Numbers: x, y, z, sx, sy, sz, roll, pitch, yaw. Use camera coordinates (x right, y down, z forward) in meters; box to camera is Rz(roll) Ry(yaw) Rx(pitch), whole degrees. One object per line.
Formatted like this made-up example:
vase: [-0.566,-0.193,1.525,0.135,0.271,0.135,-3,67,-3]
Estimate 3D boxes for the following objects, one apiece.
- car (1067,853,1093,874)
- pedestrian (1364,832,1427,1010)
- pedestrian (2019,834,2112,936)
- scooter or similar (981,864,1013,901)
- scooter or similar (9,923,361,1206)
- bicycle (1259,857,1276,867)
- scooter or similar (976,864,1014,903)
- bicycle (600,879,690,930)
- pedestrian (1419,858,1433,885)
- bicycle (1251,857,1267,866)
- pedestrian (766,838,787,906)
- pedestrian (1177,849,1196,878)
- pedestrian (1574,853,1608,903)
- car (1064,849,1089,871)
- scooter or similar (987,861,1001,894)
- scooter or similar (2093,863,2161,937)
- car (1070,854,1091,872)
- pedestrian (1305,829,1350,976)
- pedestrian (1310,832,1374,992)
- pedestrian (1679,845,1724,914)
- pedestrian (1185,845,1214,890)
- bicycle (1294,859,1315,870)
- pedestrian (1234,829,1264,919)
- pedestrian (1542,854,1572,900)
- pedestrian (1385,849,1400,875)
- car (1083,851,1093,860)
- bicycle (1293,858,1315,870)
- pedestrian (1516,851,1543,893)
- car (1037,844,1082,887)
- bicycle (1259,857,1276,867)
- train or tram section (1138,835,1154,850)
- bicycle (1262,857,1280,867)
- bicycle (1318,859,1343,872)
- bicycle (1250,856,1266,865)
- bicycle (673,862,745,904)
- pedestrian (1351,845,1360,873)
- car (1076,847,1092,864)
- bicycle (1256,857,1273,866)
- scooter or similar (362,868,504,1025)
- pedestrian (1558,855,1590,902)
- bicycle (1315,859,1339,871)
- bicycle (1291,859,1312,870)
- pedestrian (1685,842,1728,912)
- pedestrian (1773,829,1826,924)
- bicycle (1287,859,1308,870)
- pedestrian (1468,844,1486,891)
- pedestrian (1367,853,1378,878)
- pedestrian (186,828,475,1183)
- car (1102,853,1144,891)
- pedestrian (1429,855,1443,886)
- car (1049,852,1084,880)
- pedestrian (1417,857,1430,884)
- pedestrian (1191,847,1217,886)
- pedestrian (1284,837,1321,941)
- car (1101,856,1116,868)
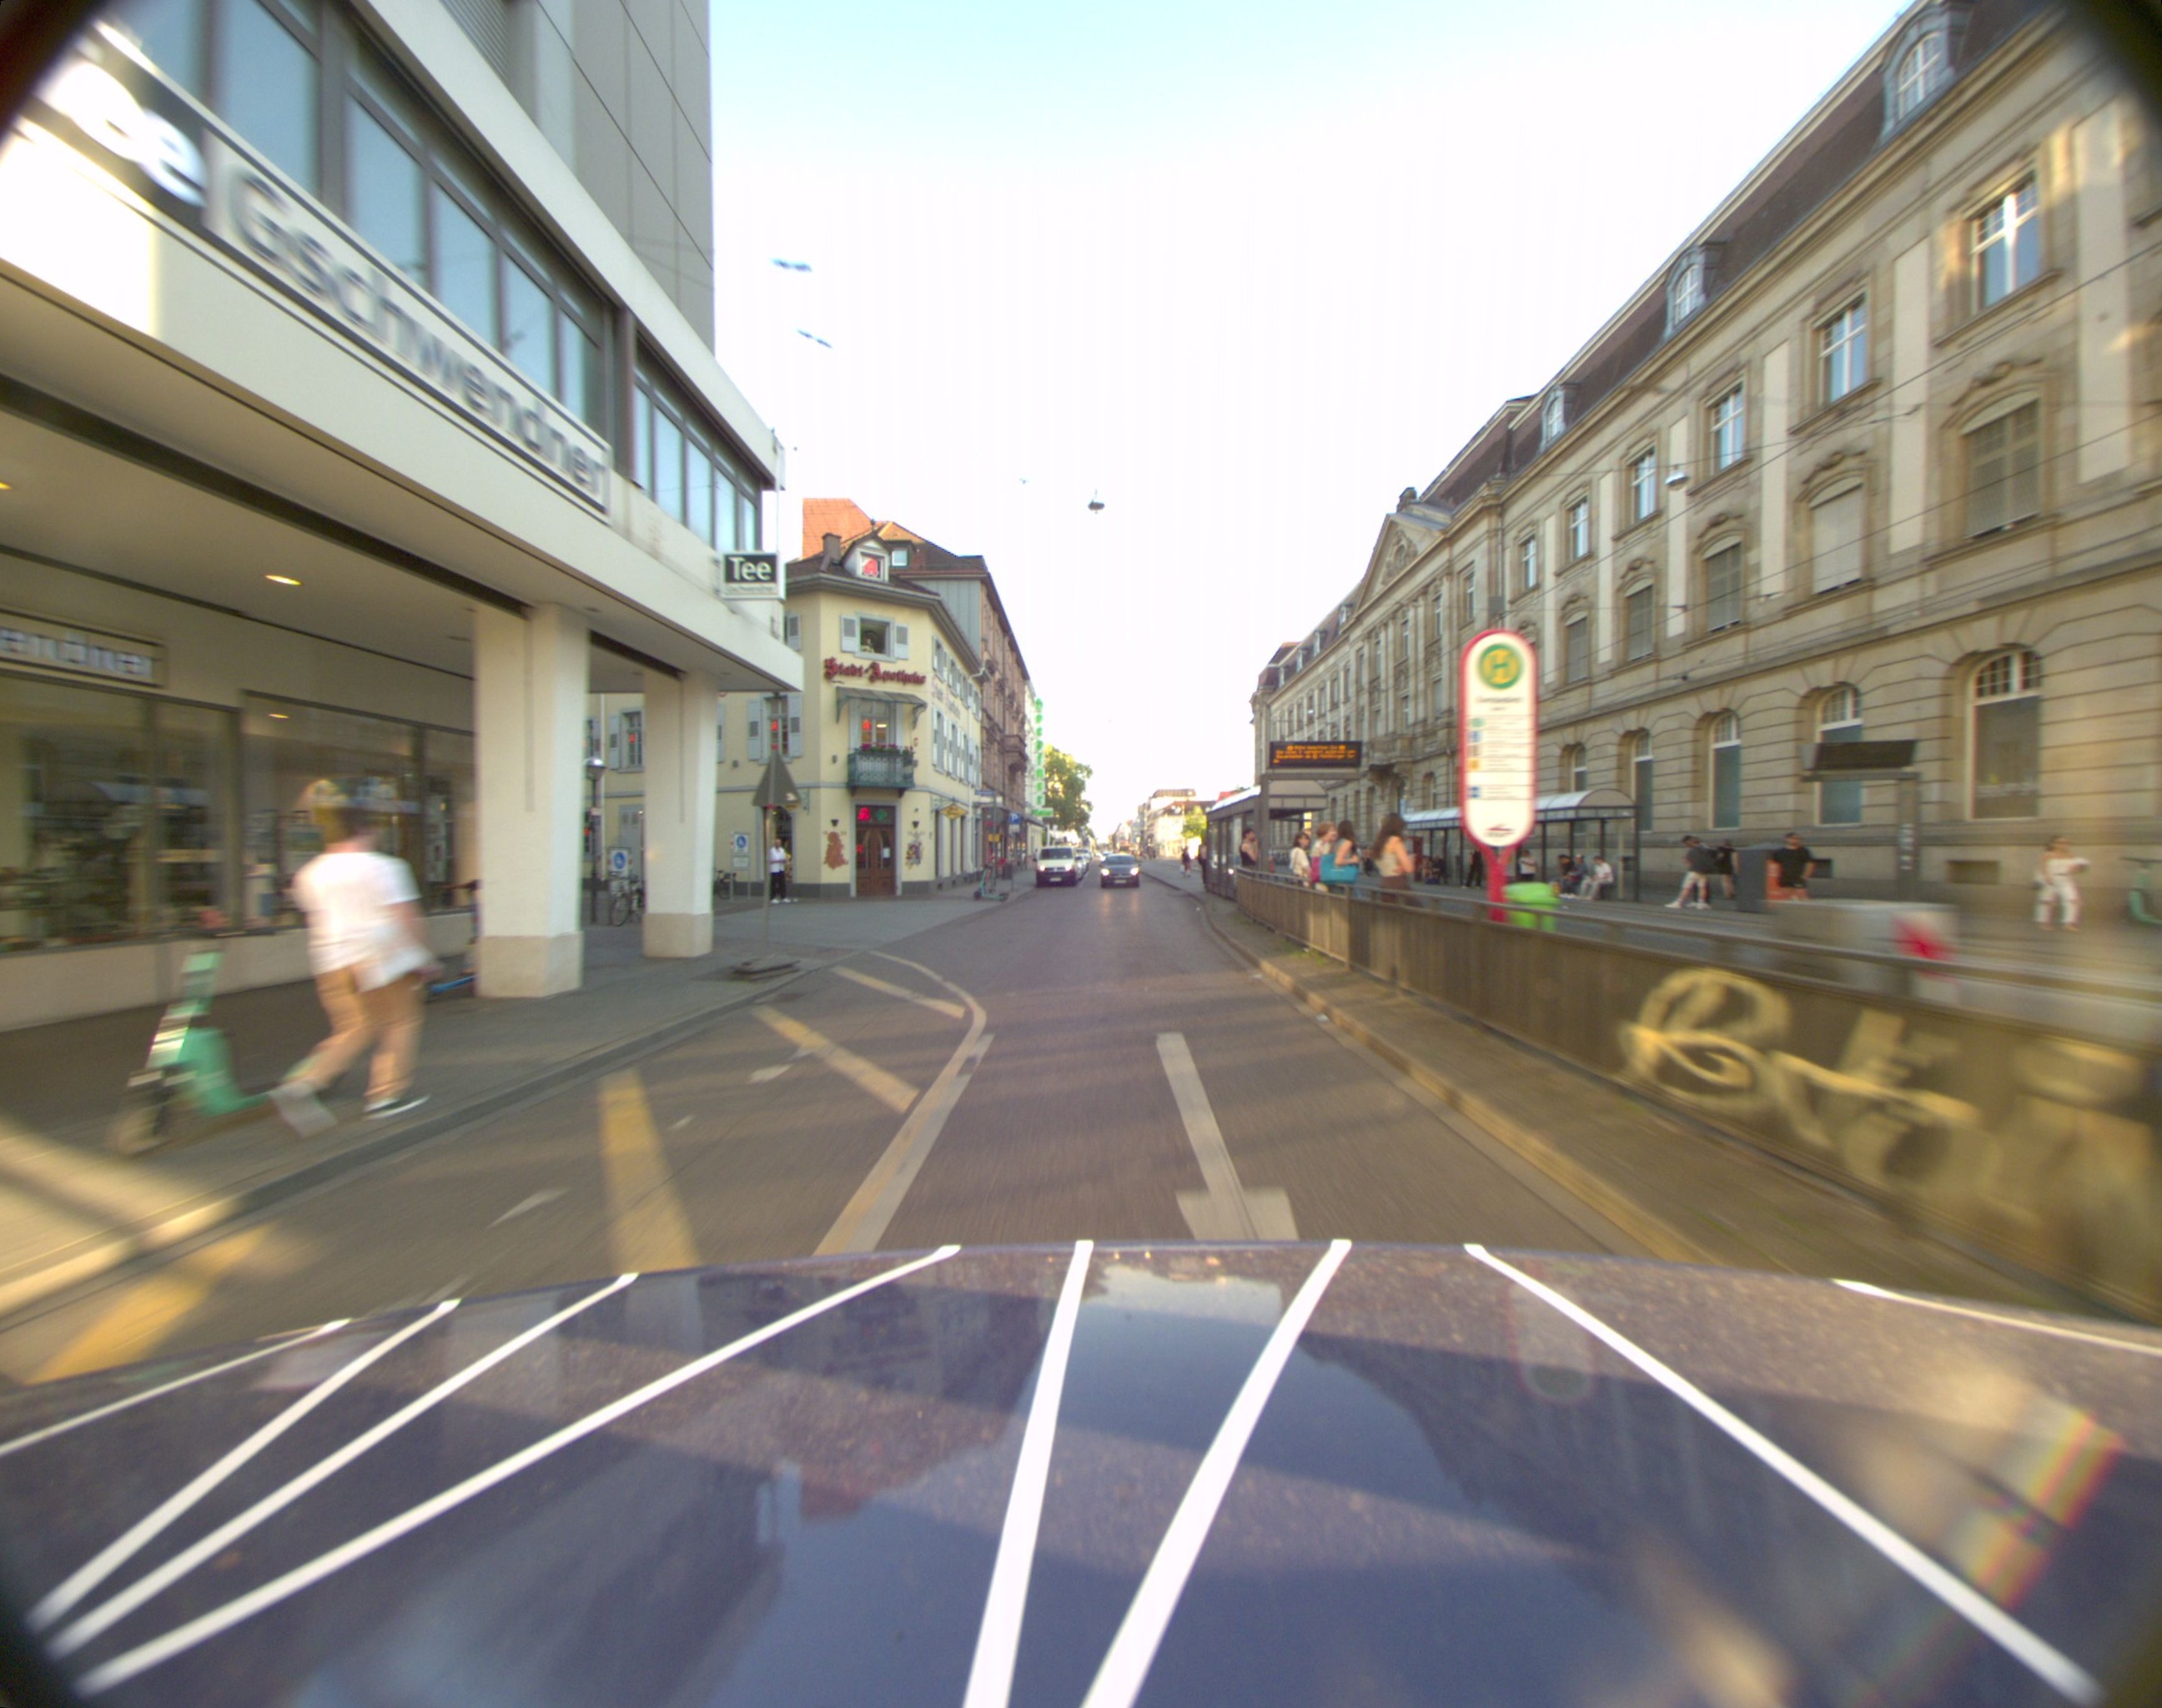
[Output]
car: [-0.035,0.737,63.824,1.736,1.581,4.442,-3,1,4]
pedestrian: [2.995,0.617,7.260,0.357,1.632,0.502,-2,1,-1]
pedestrian: [16.199,0.497,12.513,0.701,1.605,0.630,-2,1,0]
scooter or similar: [-2.831,0.958,25.616,1.049,1.227,0.271,0,2,-31]
scooter or similar: [-4.795,1.051,4.183,0.506,1.227,1.179,0,1,1]
bicycle: [18.000,0.746,73.332,1.579,0.869,0.451,-2,1,6]
scooter or similar: [-2.822,0.959,24.917,1.177,1.227,0.317,1,1,17]
bicycle: [-9.459,1.077,16.584,0.771,1.022,1.848,-2,-1,4]
pedestrian: [14.165,0.708,31.196,0.365,1.096,0.430,-2,1,7]
bicycle: [18.409,0.760,78.607,1.579,0.869,0.451,-2,1,6]
pedestrian: [-9.011,0.520,22.485,0.544,2.002,0.644,-1,1,-22]
pedestrian: [5.529,0.507,39.929,0.848,1.492,0.901,-1,1,1]
pedestrian: [13.836,0.645,20.628,0.519,1.320,0.638,-1,1,5]
car: [-0.321,0.405,57.670,1.736,1.502,4.865,-3,1,1]
scooter or similar: [-3.366,0.884,29.484,0.272,1.227,1.308,1,1,5]
scooter or similar: [17.703,0.750,12.479,0.488,1.175,1.293,-2,1,3]
car: [-0.031,0.806,70.273,1.810,1.467,4.693,-2,1,1]
pedestrian: [3.087,0.590,9.545,0.342,1.785,0.544,-2,1,-1]
pedestrian: [2.965,0.639,8.674,0.540,1.757,0.594,-2,1,6]
pedestrian: [14.241,0.580,17.454,0.519,1.560,0.638,-1,1,5]
pedestrian: [4.318,0.497,27.614,0.970,1.619,0.691,-1,1,12]
bicycle: [17.699,0.818,60.149,1.579,0.869,0.451,-2,1,6]
pedestrian: [3.373,0.397,15.264,0.413,1.757,0.594,-2,1,-1]
pedestrian: [13.946,0.677,22.266,0.519,1.320,0.638,-1,1,5]
pedestrian: [18.011,0.452,43.914,0.541,1.481,0.593,-2,1,-22]
car: [1.356,0.258,140.375,1.771,1.565,4.000,2,1,1]
bicycle: [17.822,0.797,60.782,1.579,0.869,0.451,-2,1,6]
pedestrian: [14.522,0.580,24.629,0.519,1.320,0.638,-1,1,5]
car: [-0.988,0.491,37.222,1.881,1.912,4.699,-3,1,1]
bicycle: [18.358,0.801,74.681,1.579,0.869,0.451,-2,1,6]
train or tram section: [16.374,-2.999,192.195,2.902,3.665,13.477,1,2,1]
bicycle: [18.104,0.754,72.335,1.579,0.869,0.451,-2,1,6]
bicycle: [17.714,0.826,53.998,1.579,0.869,0.451,-2,1,6]
bicycle: [18.103,0.696,77.683,1.579,0.869,0.451,-2,1,6]
bicycle: [-11.555,0.879,23.682,0.770,1.174,1.850,-1,1,32]
pedestrian: [15.772,0.270,43.592,0.440,1.596,0.572,-1,1,18]
car: [0.347,0.216,94.514,1.857,2.055,5.215,0,1,1]
bicycle: [18.197,0.717,75.464,1.579,0.869,0.451,-2,1,6]
scooter or similar: [-6.747,0.905,7.979,0.314,1.480,1.315,0,1,1]
pedestrian: [13.930,0.686,21.498,0.519,1.320,0.638,-1,1,5]
bicycle: [18.101,0.804,55.861,1.579,0.869,0.451,-2,1,6]
bicycle: [17.919,0.873,61.879,1.579,0.869,0.451,-2,1,6]
pedestrian: [14.837,0.539,18.032,0.519,1.636,0.638,-1,1,5]
pedestrian: [13.653,0.416,14.454,0.468,1.766,0.561,-1,1,-1]
bicycle: [17.980,0.858,63.109,1.579,0.869,0.451,-2,1,6]
pedestrian: [14.066,0.455,26.982,0.518,1.641,0.639,0,2,23]
pedestrian: [17.077,0.696,44.486,0.439,1.431,0.573,-1,1,38]
pedestrian: [-4.169,0.774,4.301,0.701,1.805,0.852,-2,1,3]
car: [1.839,0.771,34.370,1.738,1.495,4.000,-2,1,2]
pedestrian: [14.188,0.648,30.348,0.365,1.193,0.430,-1,1,7]
car: [-0.770,0.651,43.988,1.810,1.474,4.778,-3,0,1]
pedestrian: [14.335,0.697,31.778,0.365,1.096,0.430,-2,1,7]
pedestrian: [5.160,0.511,31.876,0.686,1.628,0.863,0,1,42]
pedestrian: [3.551,0.548,12.192,0.386,1.632,0.549,-2,1,-1]
car: [3.581,1.060,100.405,1.810,1.474,4.283,-3,0,1]
